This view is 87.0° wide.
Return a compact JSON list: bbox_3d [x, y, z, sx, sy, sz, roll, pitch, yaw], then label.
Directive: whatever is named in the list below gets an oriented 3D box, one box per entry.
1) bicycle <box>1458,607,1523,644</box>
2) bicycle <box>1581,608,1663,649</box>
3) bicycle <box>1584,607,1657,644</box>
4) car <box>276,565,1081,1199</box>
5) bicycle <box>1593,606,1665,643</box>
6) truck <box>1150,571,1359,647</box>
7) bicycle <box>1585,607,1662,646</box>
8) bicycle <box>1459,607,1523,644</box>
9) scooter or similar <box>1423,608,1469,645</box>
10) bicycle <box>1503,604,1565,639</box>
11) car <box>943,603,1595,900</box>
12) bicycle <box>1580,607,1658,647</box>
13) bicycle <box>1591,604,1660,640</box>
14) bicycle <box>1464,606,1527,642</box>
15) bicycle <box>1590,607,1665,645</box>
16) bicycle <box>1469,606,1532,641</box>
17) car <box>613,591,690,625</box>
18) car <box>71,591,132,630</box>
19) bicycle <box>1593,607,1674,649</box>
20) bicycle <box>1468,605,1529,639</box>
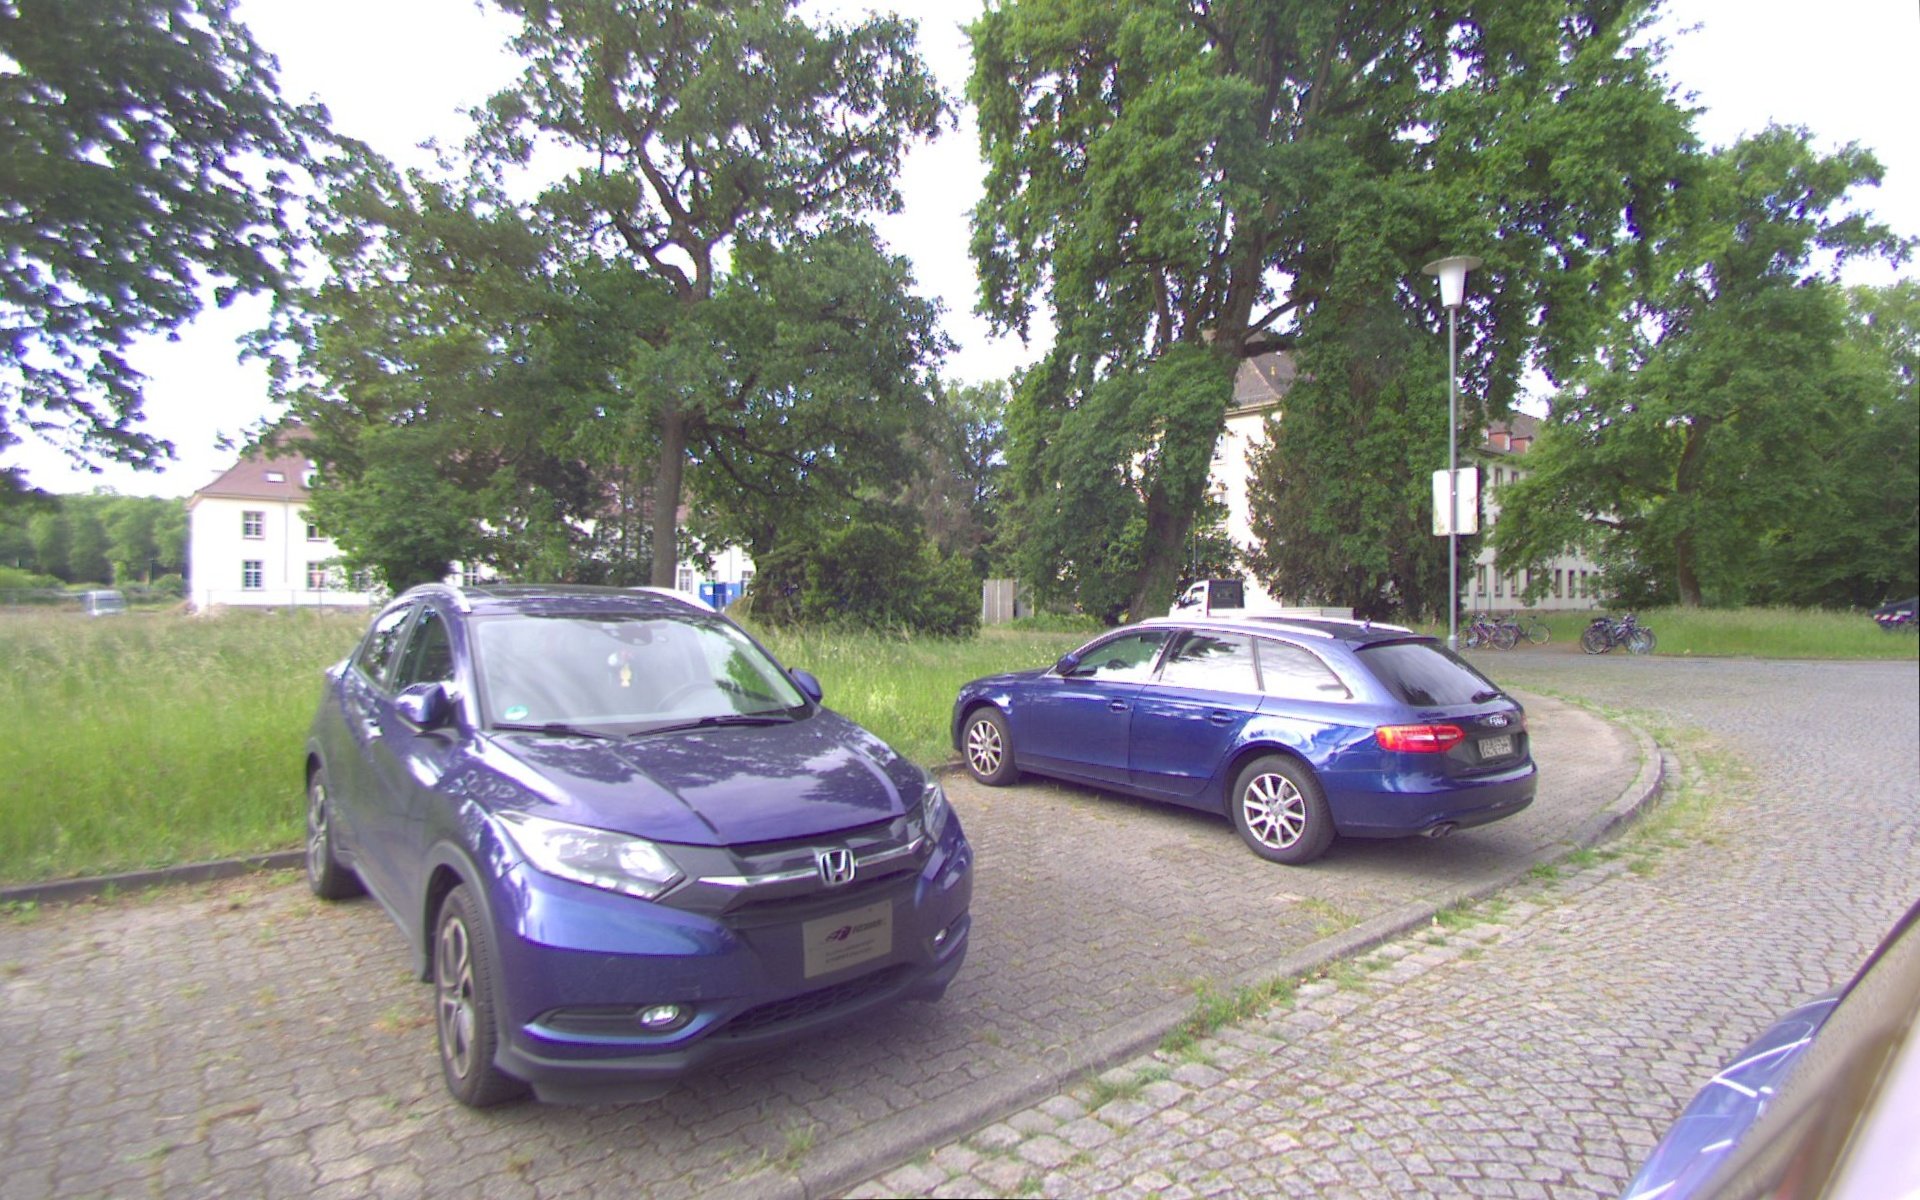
[{"bbox_3d":[17.354,0.844,33.146,1.839,1.185,0.484,-1,-1,25],"label":"bicycle"},{"bbox_3d":[19.556,0.850,29.947,1.917,1.185,0.484,-2,-2,23],"label":"bicycle"},{"bbox_3d":[21.697,0.847,33.280,1.921,1.185,0.483,-2,-2,29],"label":"bicycle"},{"bbox_3d":[-1.663,0.710,4.579,1.854,1.643,4.251,0,1,-41],"label":"car"},{"bbox_3d":[22.197,0.825,33.621,1.921,1.185,0.483,-2,-2,29],"label":"bicycle"},{"bbox_3d":[10.010,0.277,35.131,1.958,2.397,7.078,1,-1,-40],"label":"truck"},{"bbox_3d":[20.830,0.846,31.812,1.919,1.185,0.484,-2,-2,25],"label":"bicycle"},{"bbox_3d":[17.647,0.844,33.666,1.839,1.185,0.484,-1,-1,25],"label":"bicycle"},{"bbox_3d":[16.077,0.877,33.484,0.406,1.185,1.306,0,-2,-41],"label":"scooter or similar"},{"bbox_3d":[20.570,0.751,36.297,1.851,1.185,0.481,2,1,41],"label":"bicycle"},{"bbox_3d":[1.933,0.789,7.537,1.891,1.457,4.368,0,1,-38],"label":"car"},{"bbox_3d":[20.413,0.850,31.370,1.919,1.185,0.484,-2,-2,25],"label":"bicycle"},{"bbox_3d":[22.834,0.765,34.757,1.926,1.185,0.531,-2,-2,34],"label":"bicycle"},{"bbox_3d":[18.095,0.817,34.221,1.843,1.185,0.483,-1,-1,29],"label":"bicycle"},{"bbox_3d":[21.347,0.843,32.387,1.921,1.185,0.483,-2,-2,29],"label":"bicycle"},{"bbox_3d":[18.573,0.814,34.824,1.837,1.185,0.485,-1,-1,22],"label":"bicycle"},{"bbox_3d":[-21.677,0.520,71.189,4.853,2.333,1.921,0,0,-40],"label":"car"},{"bbox_3d":[-61.319,0.755,72.245,5.649,2.675,2.247,-2,-1,38],"label":"car"},{"bbox_3d":[20.132,0.841,30.296,1.917,1.185,0.484,-2,-2,23],"label":"bicycle"},{"bbox_3d":[19.232,0.779,36.171,1.837,1.185,0.485,-1,-1,22],"label":"bicycle"}]
